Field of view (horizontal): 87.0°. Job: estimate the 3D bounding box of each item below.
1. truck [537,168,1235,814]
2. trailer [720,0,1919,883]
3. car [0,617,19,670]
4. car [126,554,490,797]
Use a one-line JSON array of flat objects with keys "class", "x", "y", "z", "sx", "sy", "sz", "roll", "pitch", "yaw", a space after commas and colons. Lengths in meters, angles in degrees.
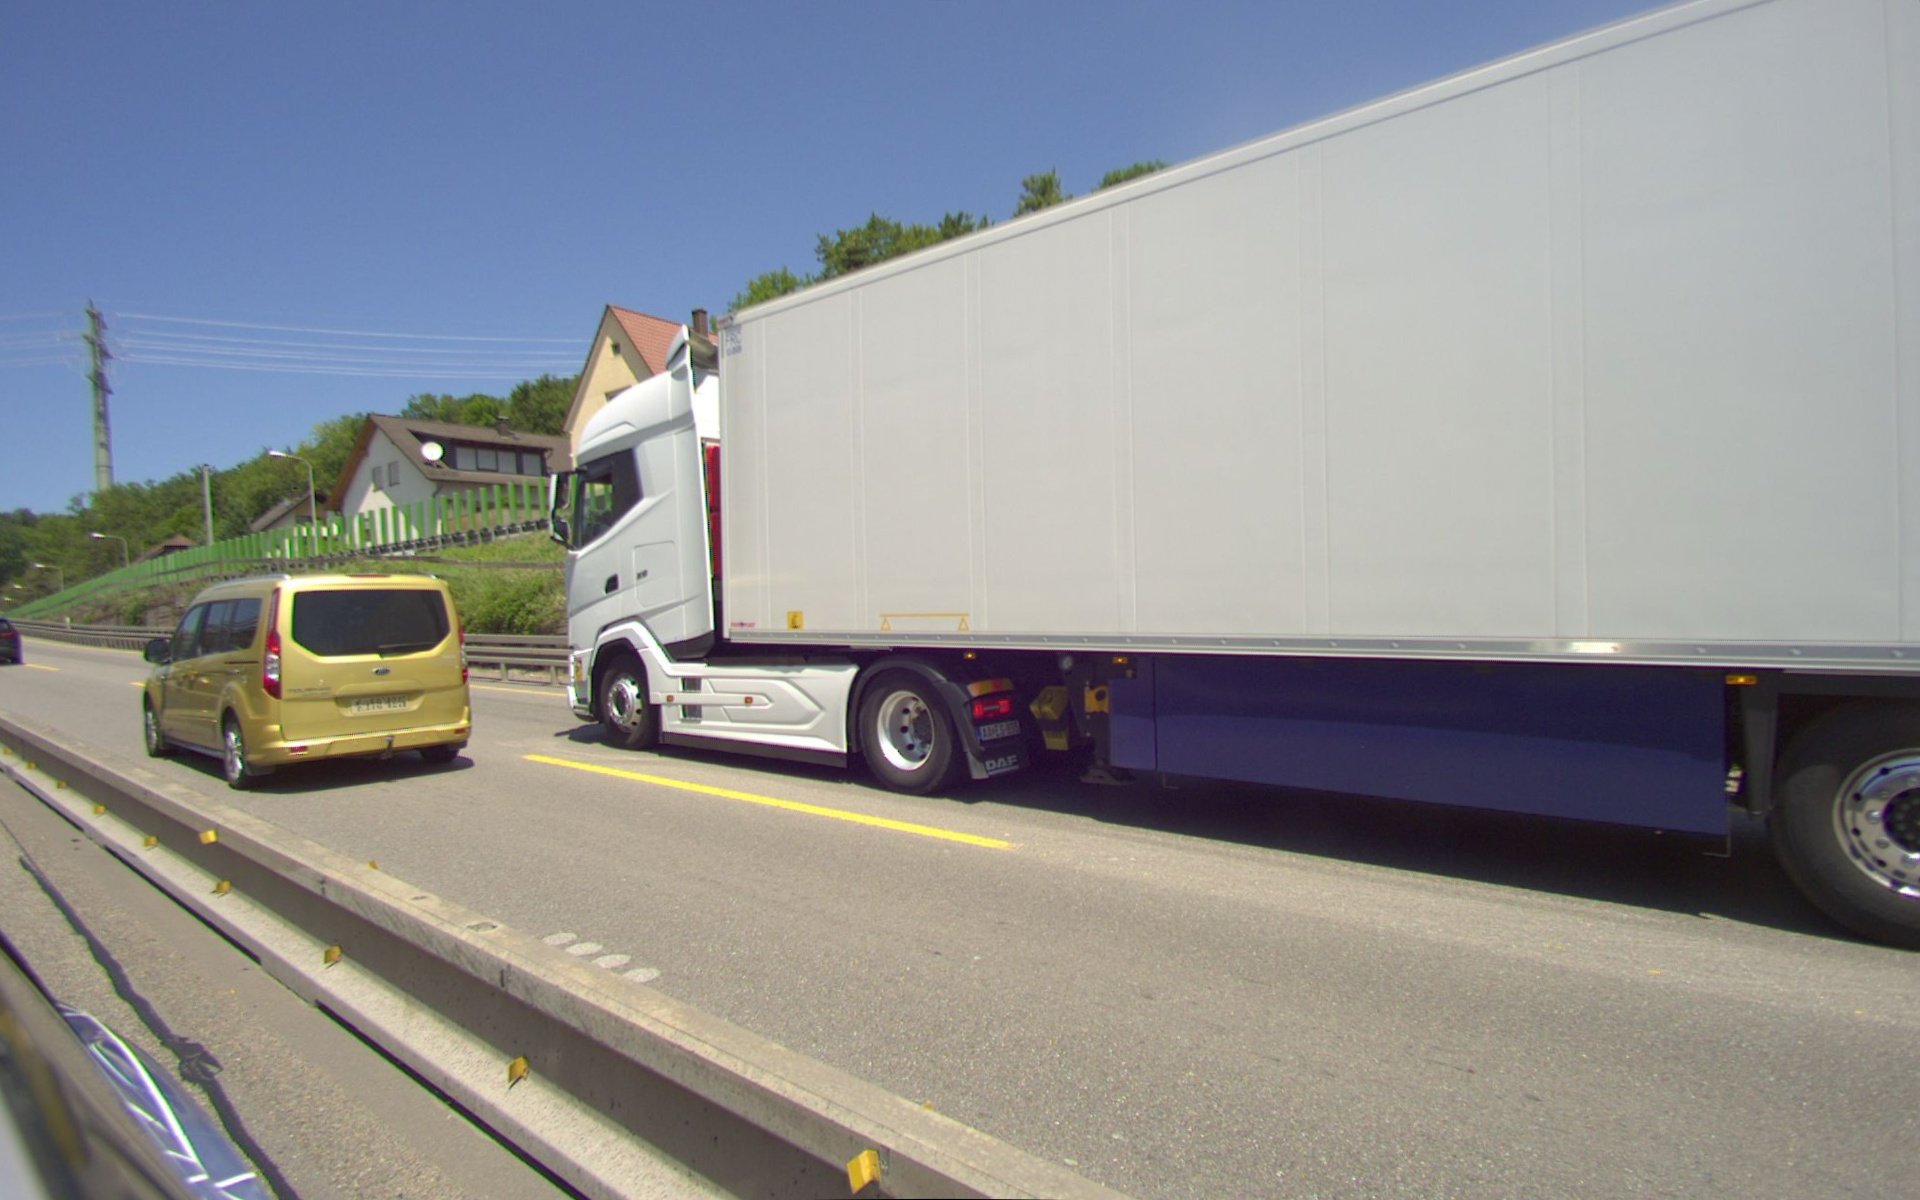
[{"class": "truck", "x": -1.018, "y": -0.729, "z": 9.988, "sx": 6.479, "sy": 4.269, "sz": 3.149, "roll": 0, "pitch": 1, "yaw": 40}, {"class": "trailer", "x": 4.016, "y": -1.017, "z": 5.634, "sx": 13.400, "sy": 4.190, "sz": 3.187, "roll": -1, "pitch": 0, "yaw": 41}, {"class": "car", "x": -30.820, "y": 1.356, "z": 31.509, "sx": 4.099, "sy": 1.573, "sz": 1.683, "roll": -1, "pitch": 0, "yaw": 40}, {"class": "car", "x": -6.428, "y": 0.594, "z": 9.763, "sx": 4.431, "sy": 1.834, "sz": 1.757, "roll": -1, "pitch": 0, "yaw": 41}]
